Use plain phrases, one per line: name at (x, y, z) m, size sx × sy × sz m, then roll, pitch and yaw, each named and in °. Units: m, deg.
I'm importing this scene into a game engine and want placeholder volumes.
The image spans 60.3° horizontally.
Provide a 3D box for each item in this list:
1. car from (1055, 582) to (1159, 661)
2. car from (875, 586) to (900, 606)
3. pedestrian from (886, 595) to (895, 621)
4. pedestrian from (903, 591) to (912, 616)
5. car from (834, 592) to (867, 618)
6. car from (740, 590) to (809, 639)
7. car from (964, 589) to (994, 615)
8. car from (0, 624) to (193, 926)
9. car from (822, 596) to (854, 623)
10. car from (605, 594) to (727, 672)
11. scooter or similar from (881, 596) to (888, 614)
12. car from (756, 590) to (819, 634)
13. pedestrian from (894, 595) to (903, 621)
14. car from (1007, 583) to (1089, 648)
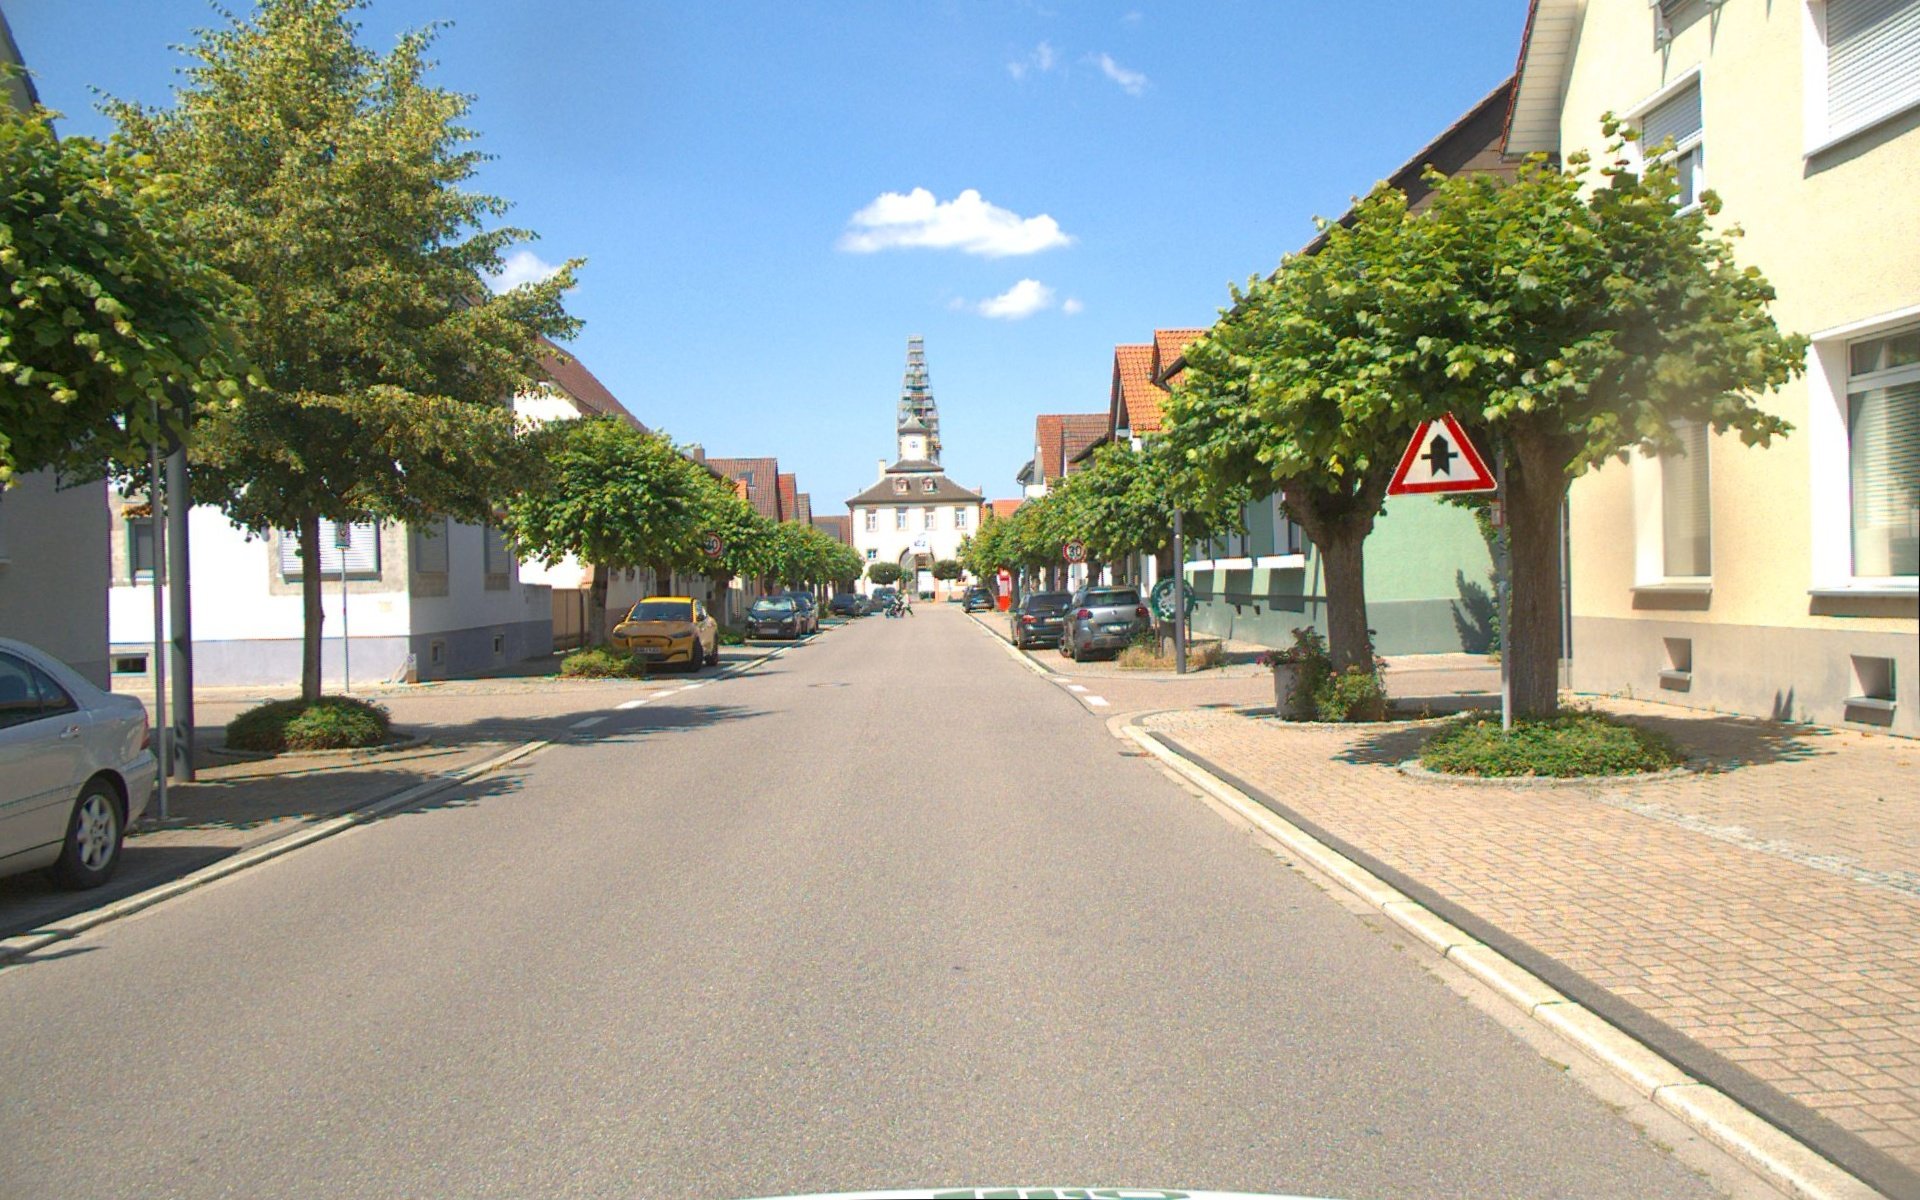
car at (3.260, 0.451, 37.394) m, size 1.800 × 1.636 × 3.998 m, roll -1°, pitch 0°, yaw -3°
car at (-6.153, -0.302, 139.796) m, size 1.955 × 1.640 × 4.501 m, roll 0°, pitch -1°, yaw -5°
pedestrian at (-3.924, 0.458, 93.538) m, size 0.351 × 1.427 × 0.319 m, roll -2°, pitch 0°, yaw 36°
pedestrian at (-2.951, 0.206, 93.019) m, size 0.351 × 1.427 × 0.319 m, roll -2°, pitch 0°, yaw 36°
car at (-7.114, 0.327, 107.694) m, size 1.953 × 1.640 × 3.854 m, roll 0°, pitch -1°, yaw 0°
car at (-6.550, 0.475, 58.826) m, size 1.953 × 1.639 × 4.689 m, roll 0°, pitch 1°, yaw 0°
car at (1.236, 0.131, 108.087) m, size 1.800 × 1.582 × 4.313 m, roll -3°, pitch 0°, yaw -1°
car at (-5.536, 0.873, 7.882) m, size 1.803 × 1.420 × 4.405 m, roll -1°, pitch 0°, yaw -2°
car at (-7.492, 0.598, 101.940) m, size 1.722 × 1.582 × 4.019 m, roll -1°, pitch 0°, yaw -1°
car at (-6.583, 0.699, 37.522) m, size 1.953 × 1.639 × 4.688 m, roll 0°, pitch 0°, yaw 0°
scooter or similar at (-4.292, 0.297, 93.736) m, size 0.323 × 1.020 × 0.240 m, roll -2°, pitch 0°, yaw 36°
car at (-6.693, 0.472, 64.561) m, size 1.953 × 1.640 × 4.688 m, roll 0°, pitch -1°, yaw 0°
pedestrian at (-3.477, 0.464, 93.882) m, size 0.351 × 1.427 × 0.319 m, roll -2°, pitch 0°, yaw 36°
car at (2.345, 0.389, 44.981) m, size 1.800 × 1.582 × 4.312 m, roll -3°, pitch 0°, yaw -2°
